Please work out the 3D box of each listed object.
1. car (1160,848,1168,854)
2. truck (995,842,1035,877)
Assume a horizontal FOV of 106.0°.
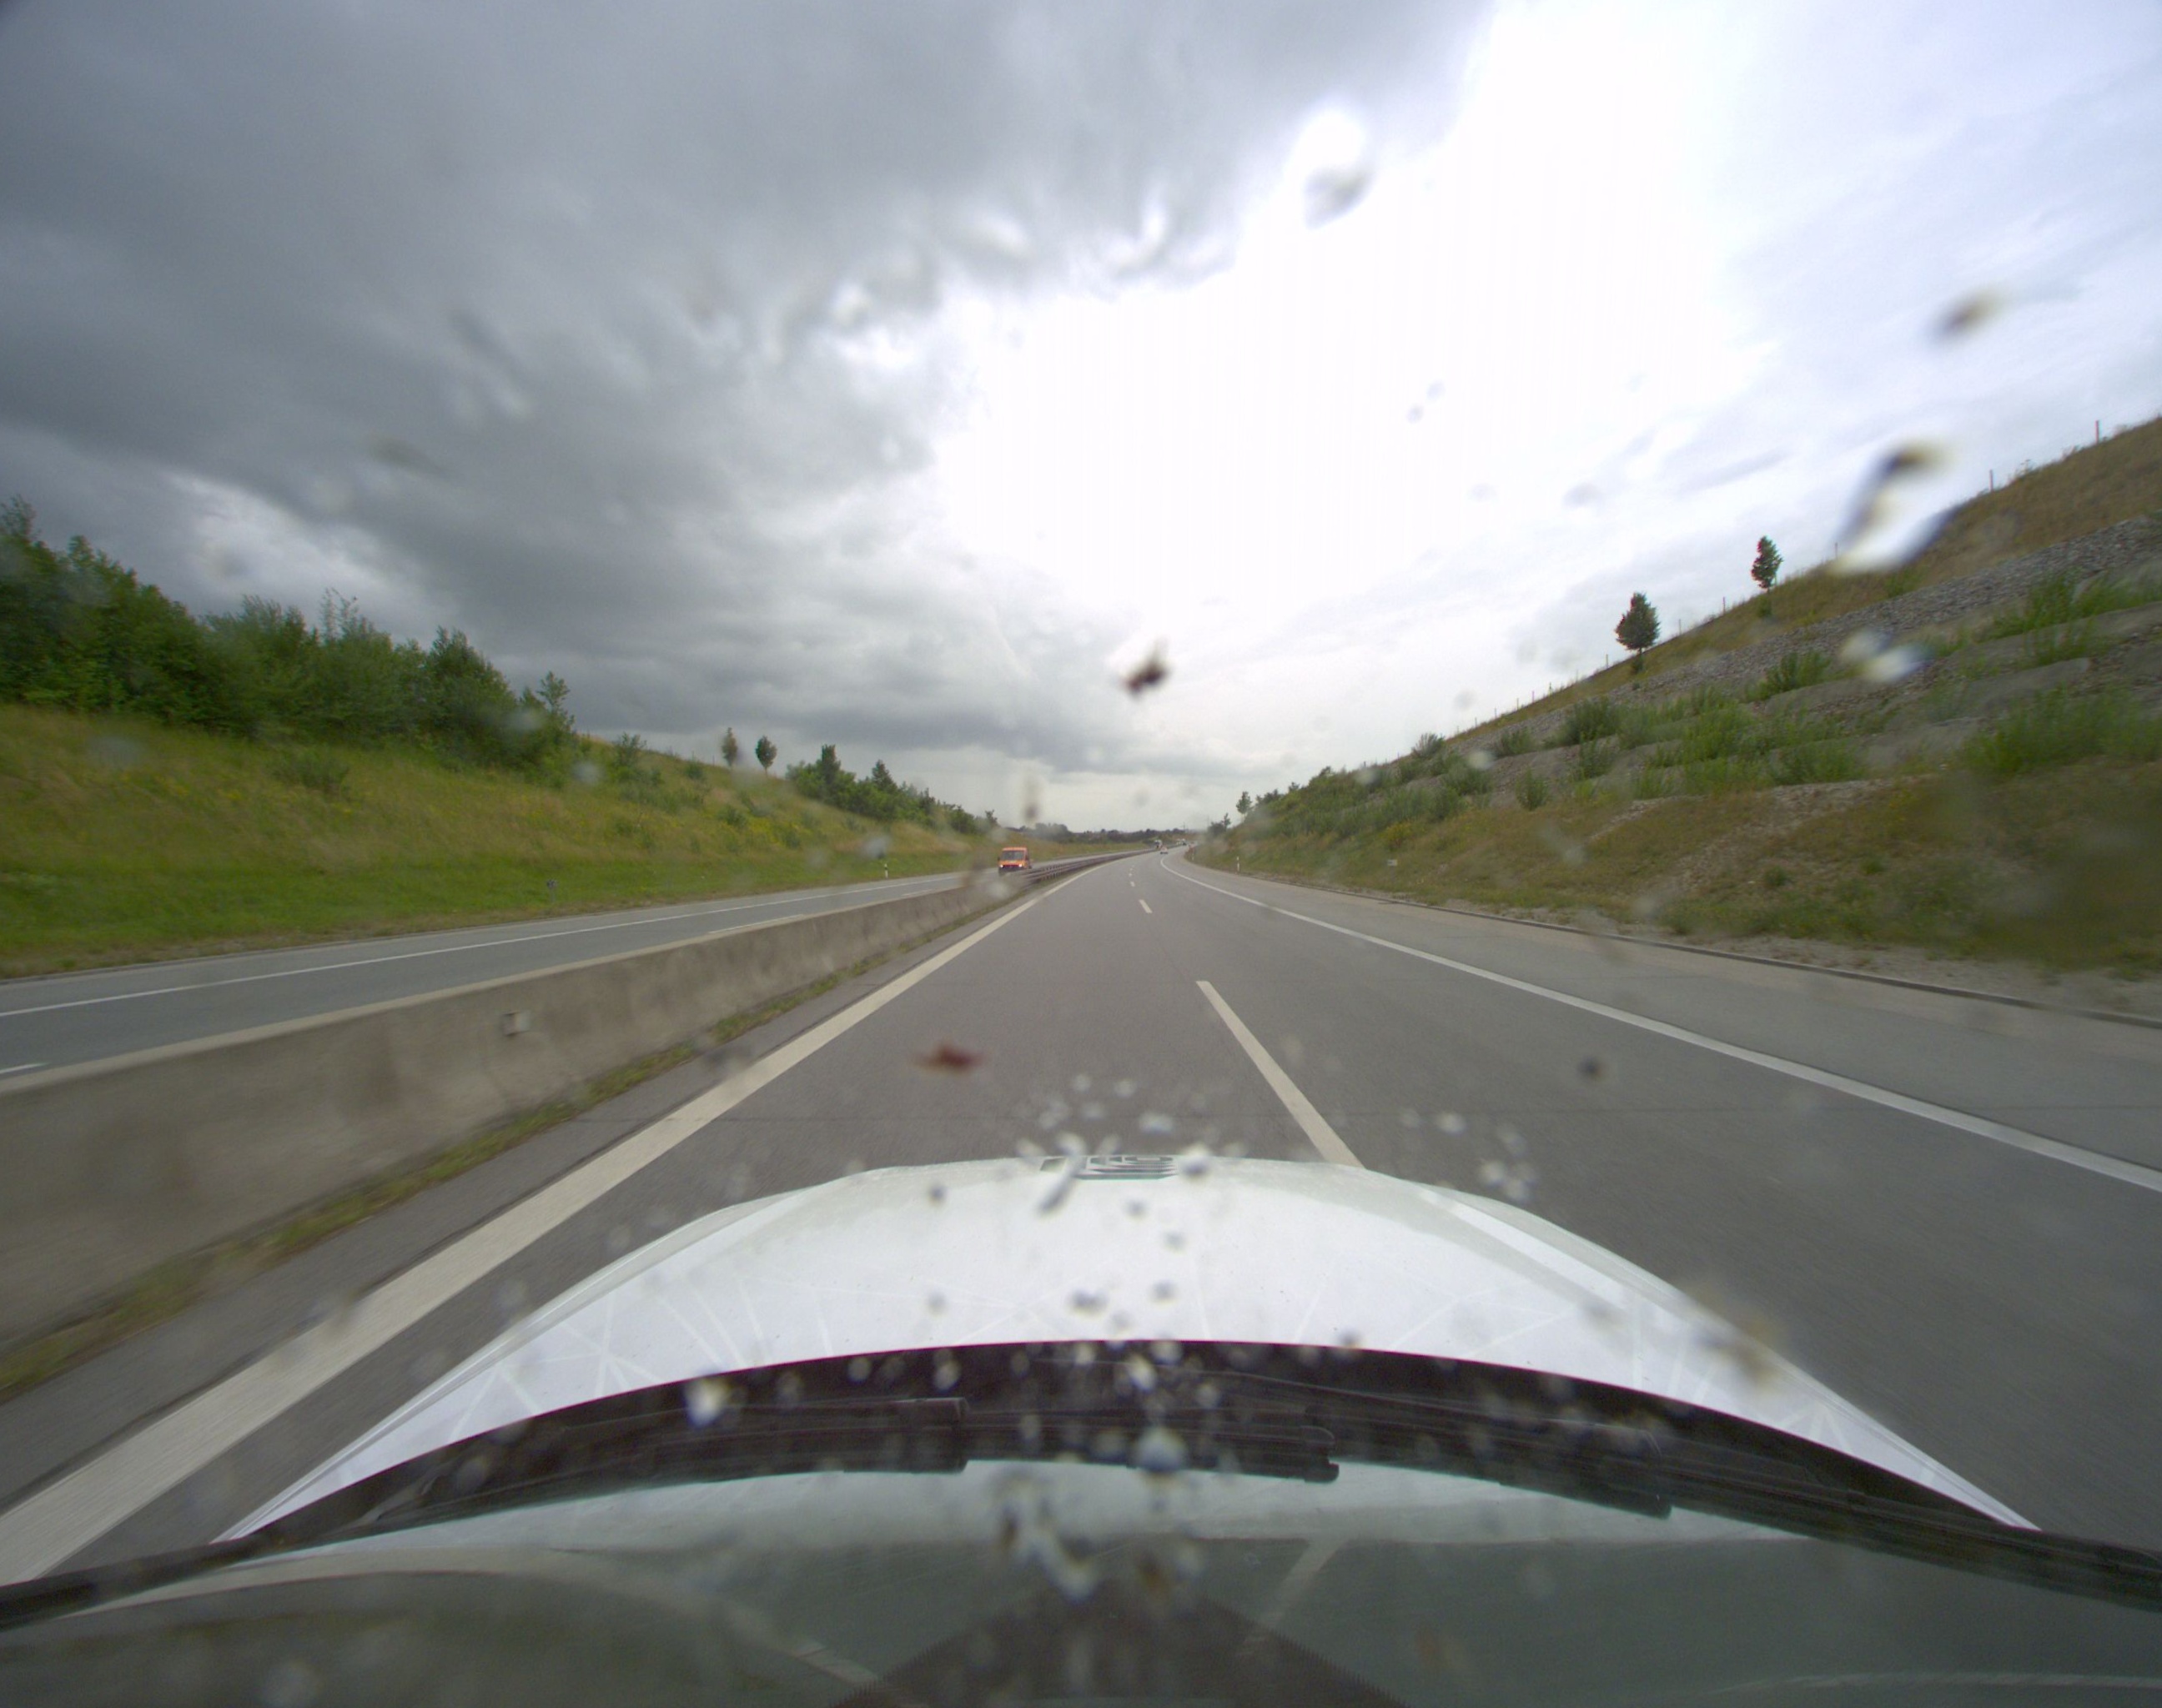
[{"bbox_3d":[22.716,-0.785,223.706,1.945,1.651,4.009,-2,0,8],"label":"car"},{"bbox_3d":[-5.003,0.414,62.745,2.182,2.509,6.558,-1,0,2],"label":"truck"}]
